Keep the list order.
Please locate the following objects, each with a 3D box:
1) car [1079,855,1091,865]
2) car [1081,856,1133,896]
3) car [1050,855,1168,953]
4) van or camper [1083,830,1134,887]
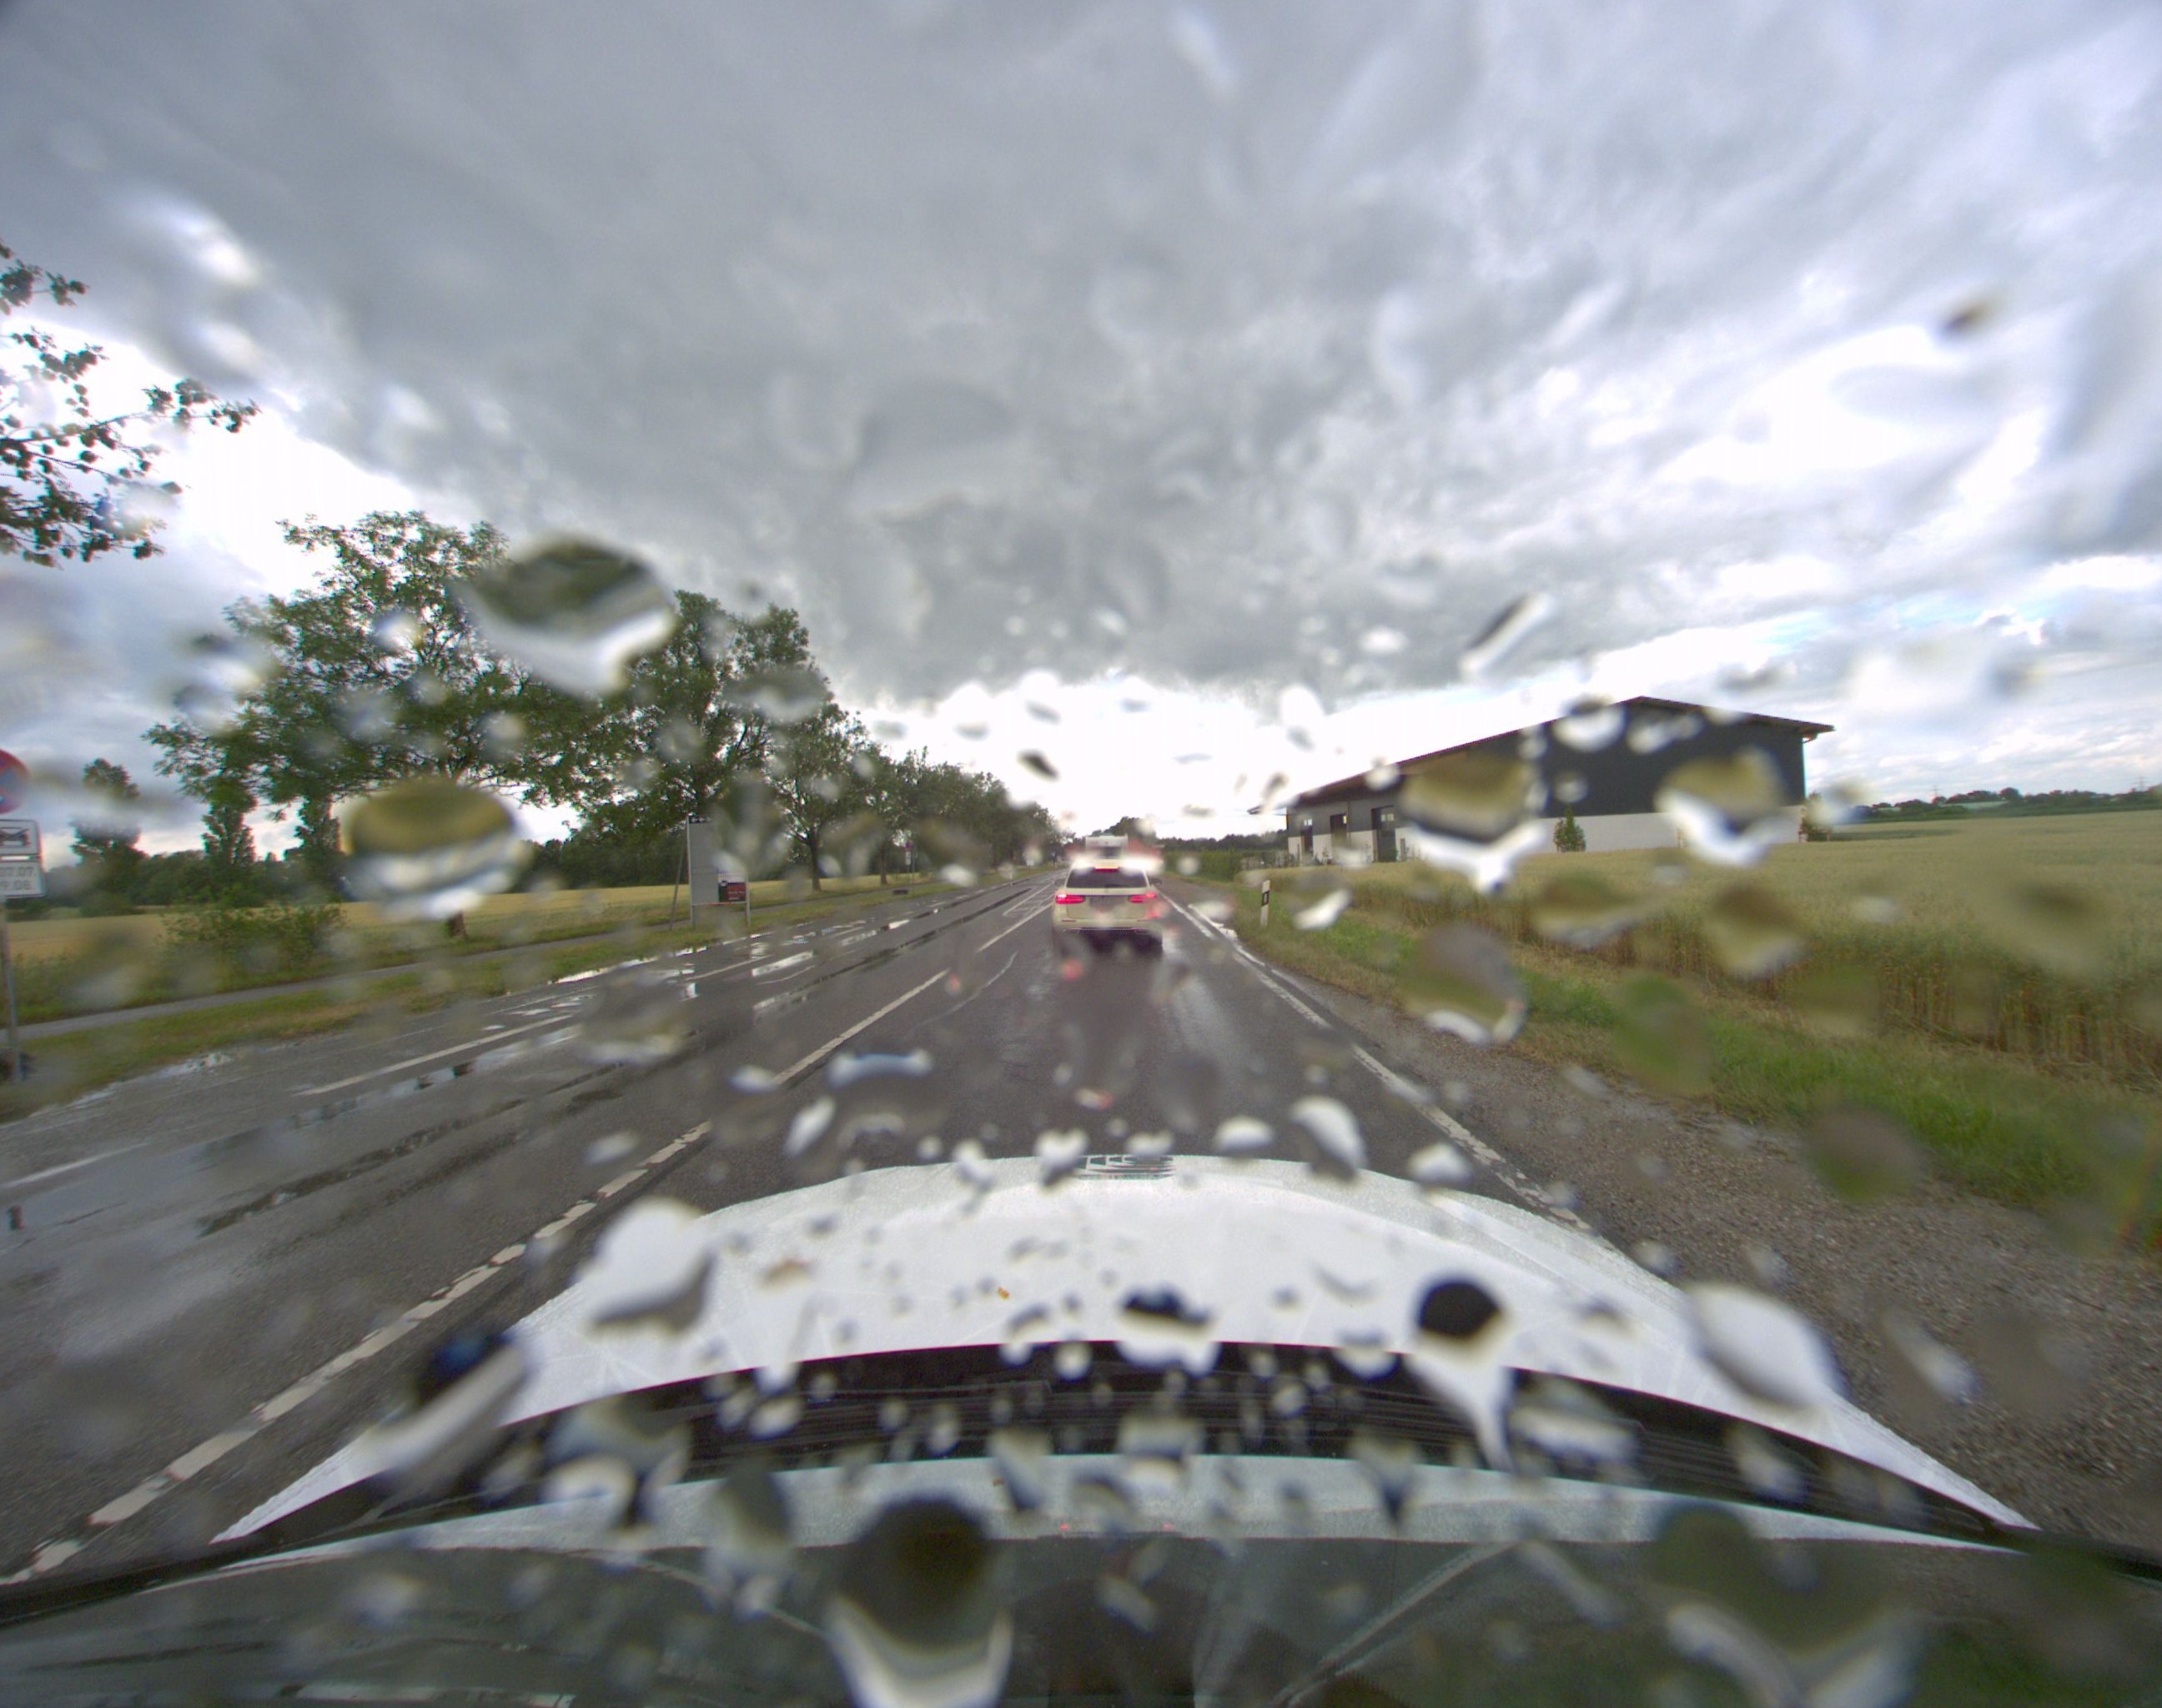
[{"bbox_3d":[0.756,1.125,154.685,1.909,1.632,4.359,-4,0,2],"label":"car"},{"bbox_3d":[0.999,0.813,31.793,1.887,1.429,3.929,-2,0,1],"label":"car"},{"bbox_3d":[0.512,0.778,14.629,1.790,1.464,4.033,-1,0,2],"label":"car"},{"bbox_3d":[1.597,0.230,45.610,2.487,2.831,5.938,-3,0,3],"label":"van or camper"}]
